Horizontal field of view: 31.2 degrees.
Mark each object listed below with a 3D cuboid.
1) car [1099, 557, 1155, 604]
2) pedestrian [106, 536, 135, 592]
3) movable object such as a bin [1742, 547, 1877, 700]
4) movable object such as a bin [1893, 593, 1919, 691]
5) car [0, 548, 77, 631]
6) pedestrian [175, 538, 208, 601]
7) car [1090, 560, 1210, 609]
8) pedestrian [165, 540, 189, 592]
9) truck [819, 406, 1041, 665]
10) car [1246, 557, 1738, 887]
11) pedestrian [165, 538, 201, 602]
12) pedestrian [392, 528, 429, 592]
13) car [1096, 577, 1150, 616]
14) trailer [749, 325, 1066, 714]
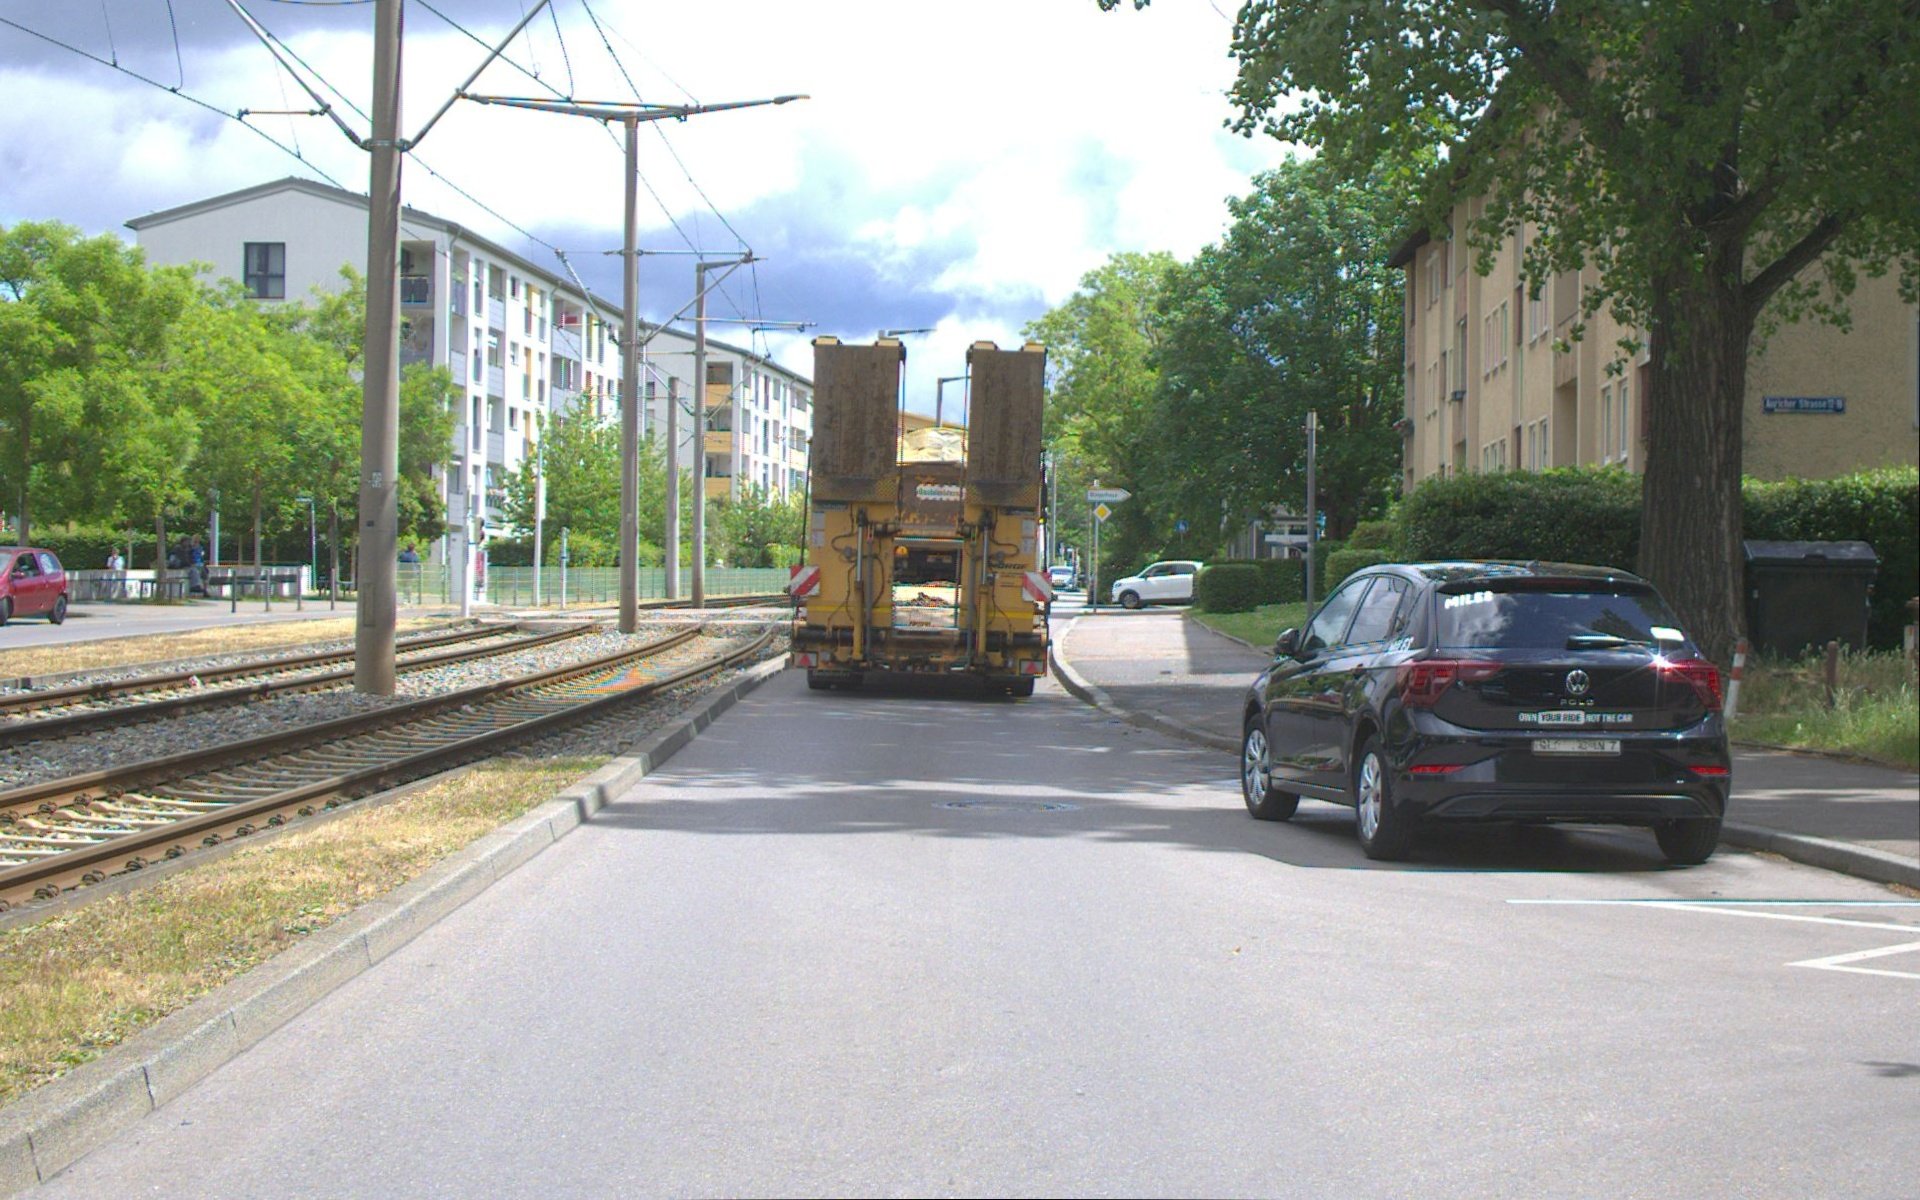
[{"bbox_3d":[6.148,-0.735,126.628,1.993,1.612,4.000,0,1,2],"label":"car"},{"bbox_3d":[-23.032,-0.986,94.361,0.545,1.542,0.528,0,1,23],"label":"pedestrian"},{"bbox_3d":[8.143,0.222,32.969,1.098,1.434,0.761,0,1,0],"label":"movable object such as a bin"},{"bbox_3d":[9.474,0.394,33.035,0.802,0.912,0.761,0,1,0],"label":"movable object such as a bin"},{"bbox_3d":[-17.535,-0.208,62.541,1.614,1.421,3.422,0,1,9],"label":"car"},{"bbox_3d":[-19.391,-0.772,86.741,0.623,1.567,0.557,0,1,14],"label":"pedestrian"},{"bbox_3d":[6.214,-0.505,112.409,3.600,1.579,1.999,0,0,15],"label":"car"},{"bbox_3d":[-19.408,-0.842,85.220,0.499,1.262,0.500,-1,1,-21],"label":"pedestrian"},{"bbox_3d":[-0.392,-0.928,48.278,2.833,3.319,7.985,0,1,0],"label":"truck"},{"bbox_3d":[2.591,0.531,17.611,1.815,1.444,3.827,-1,1,-2],"label":"car"},{"bbox_3d":[-19.447,-0.752,86.020,0.623,1.567,0.697,0,1,14],"label":"pedestrian"},{"bbox_3d":[-14.336,-1.041,89.680,0.749,1.656,0.869,0,1,6],"label":"pedestrian"},{"bbox_3d":[6.197,-0.147,131.373,1.993,1.382,4.000,0,1,2],"label":"car"},{"bbox_3d":[-0.517,-0.924,39.268,3.050,3.759,11.613,0,1,0],"label":"trailer"}]
